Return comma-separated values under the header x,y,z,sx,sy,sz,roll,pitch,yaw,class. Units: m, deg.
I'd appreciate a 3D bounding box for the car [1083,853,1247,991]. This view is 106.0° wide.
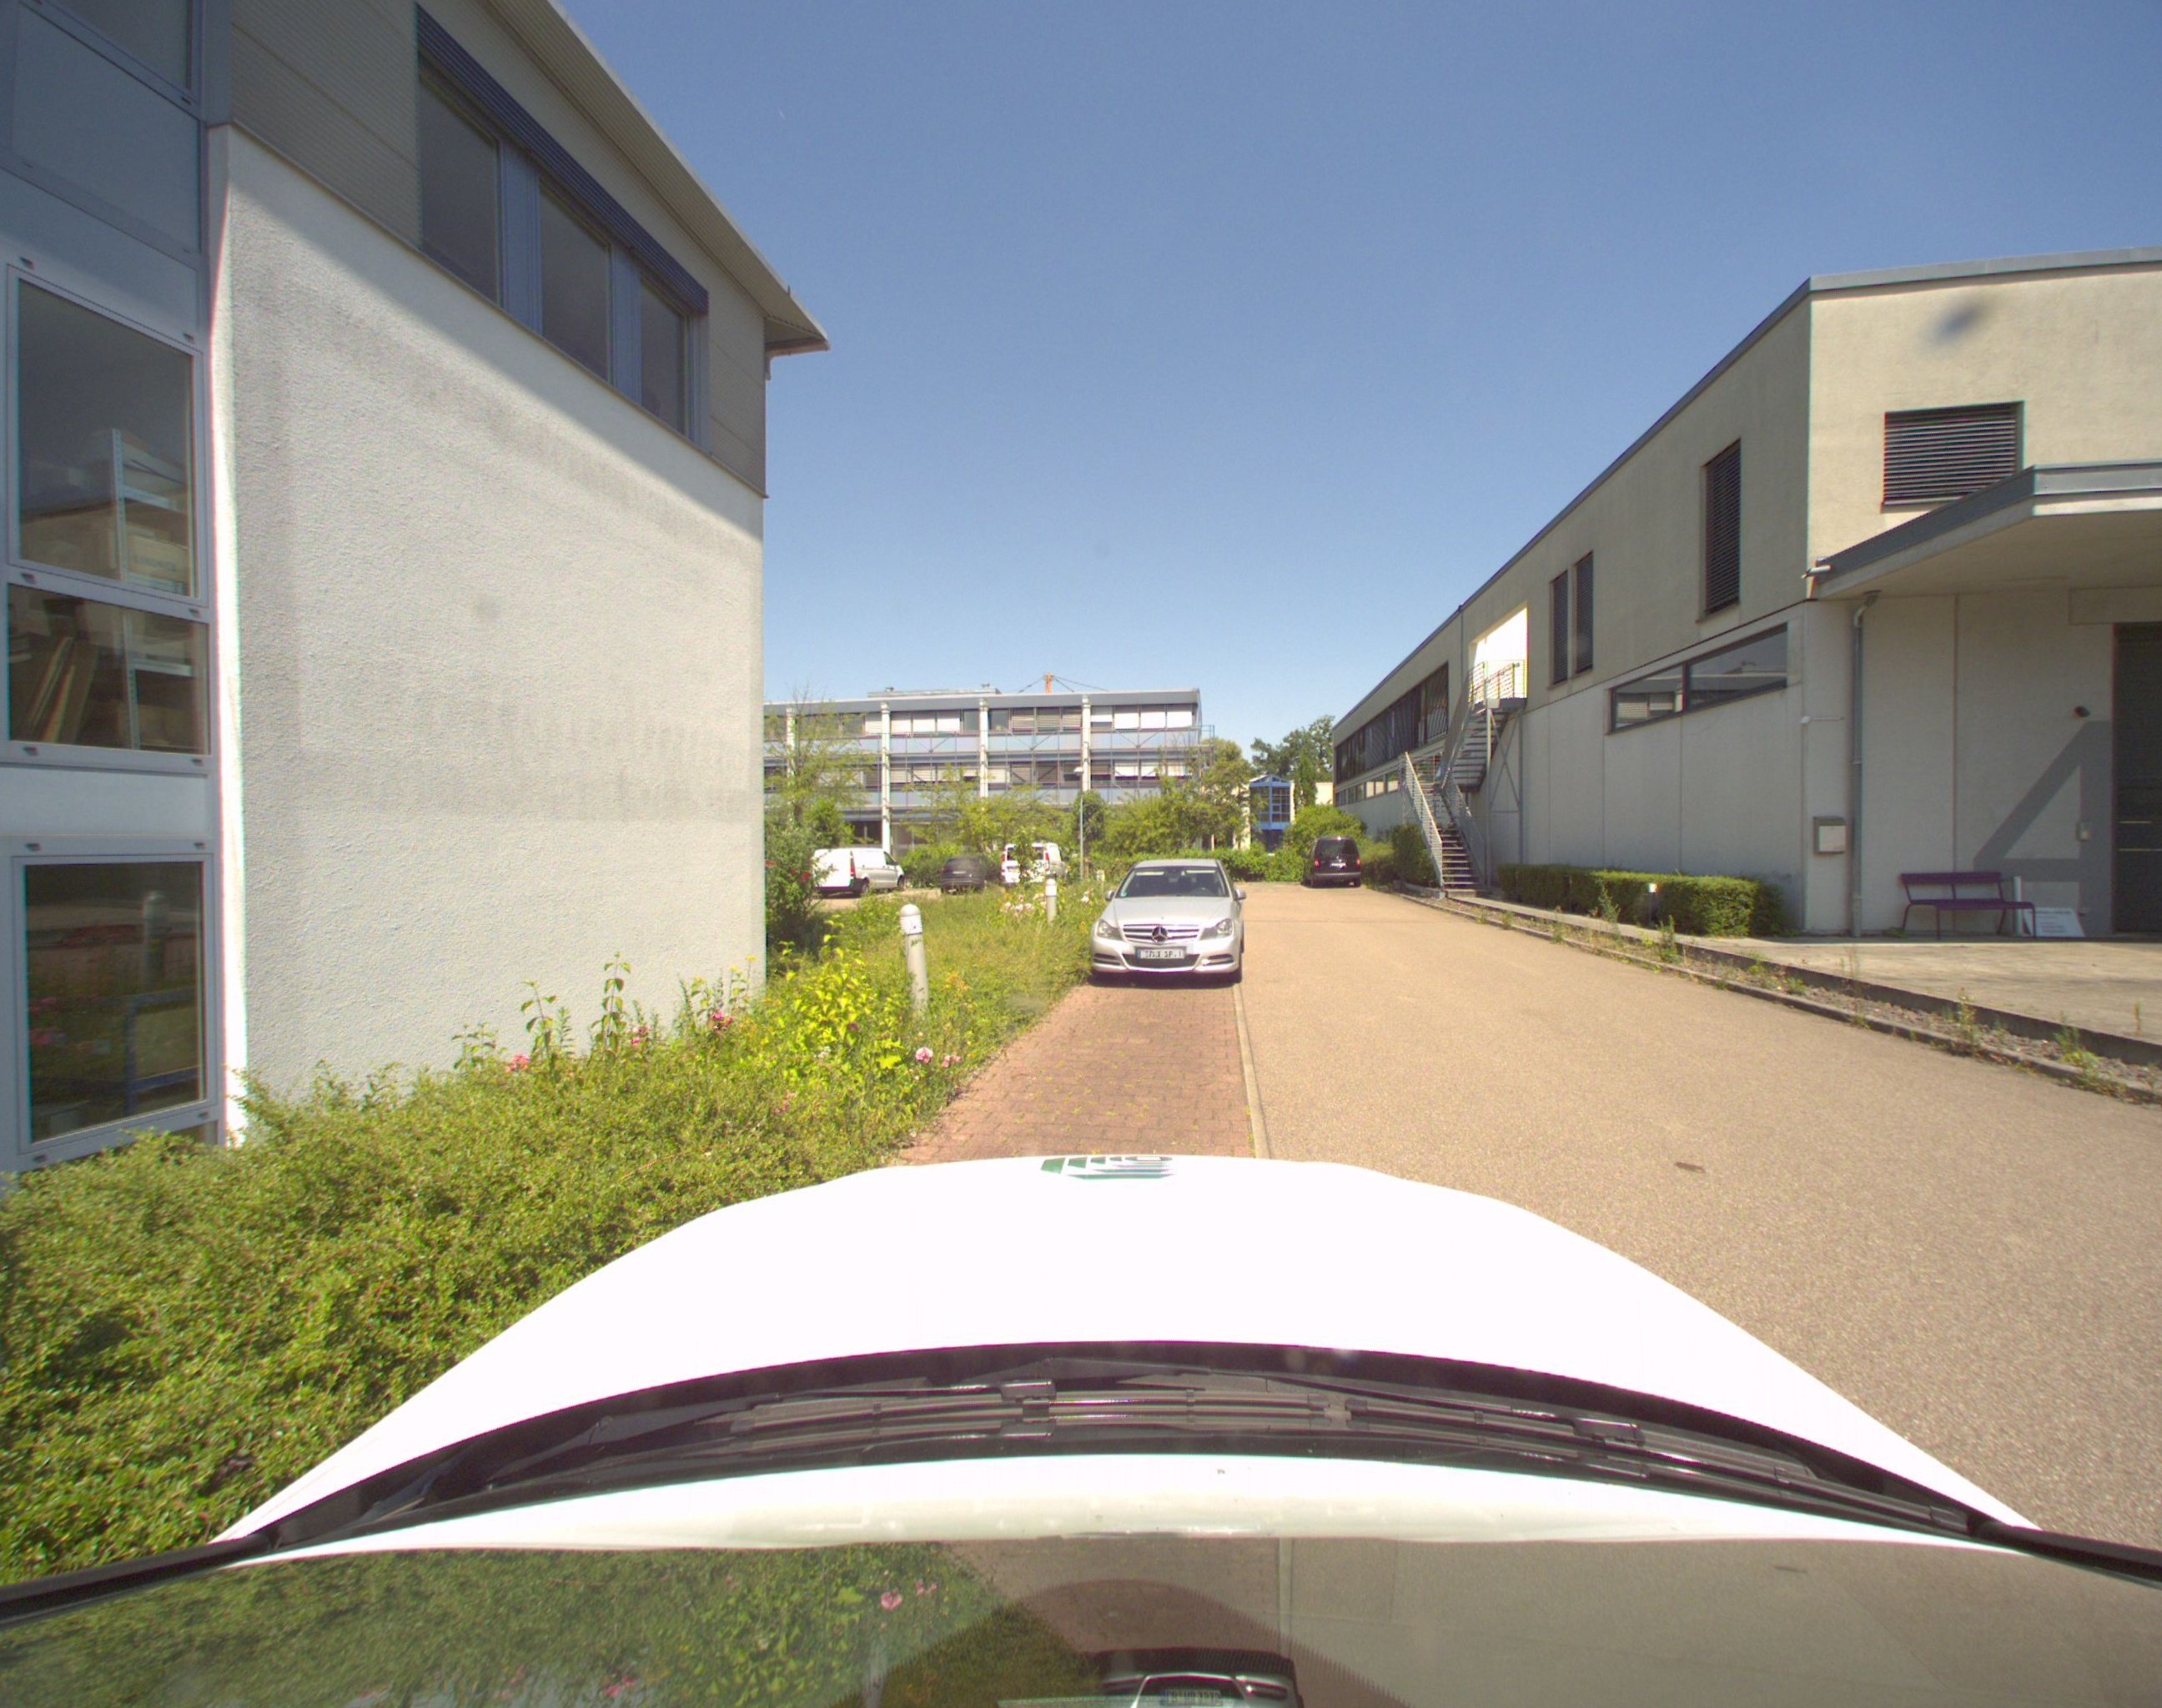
x,y,z,sx,sy,sz,roll,pitch,yaw,class
1.319,0.747,10.919,1.717,1.457,4.161,-2,0,12,car

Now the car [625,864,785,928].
x,y,z,sx,sy,sz,roll,pitch,yaw,class
-10.254,1.091,22.669,1.846,1.472,4.495,-1,1,8,car

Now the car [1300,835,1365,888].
x,y,z,sx,sy,sz,roll,pitch,yaw,class
9.426,0.239,30.747,1.733,1.837,4.010,-2,0,9,car

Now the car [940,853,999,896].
x,y,z,sx,sy,sz,roll,pitch,yaw,class
-4.360,0.753,32.414,1.749,1.476,3.999,-2,1,0,car

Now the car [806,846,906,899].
x,y,z,sx,sy,sz,roll,pitch,yaw,class
-8.860,0.672,32.566,1.870,1.891,4.818,-1,1,10,car

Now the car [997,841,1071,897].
x,y,z,sx,sy,sz,roll,pitch,yaw,class
-1.710,0.502,31.445,1.902,1.905,4.819,-2,1,8,car
